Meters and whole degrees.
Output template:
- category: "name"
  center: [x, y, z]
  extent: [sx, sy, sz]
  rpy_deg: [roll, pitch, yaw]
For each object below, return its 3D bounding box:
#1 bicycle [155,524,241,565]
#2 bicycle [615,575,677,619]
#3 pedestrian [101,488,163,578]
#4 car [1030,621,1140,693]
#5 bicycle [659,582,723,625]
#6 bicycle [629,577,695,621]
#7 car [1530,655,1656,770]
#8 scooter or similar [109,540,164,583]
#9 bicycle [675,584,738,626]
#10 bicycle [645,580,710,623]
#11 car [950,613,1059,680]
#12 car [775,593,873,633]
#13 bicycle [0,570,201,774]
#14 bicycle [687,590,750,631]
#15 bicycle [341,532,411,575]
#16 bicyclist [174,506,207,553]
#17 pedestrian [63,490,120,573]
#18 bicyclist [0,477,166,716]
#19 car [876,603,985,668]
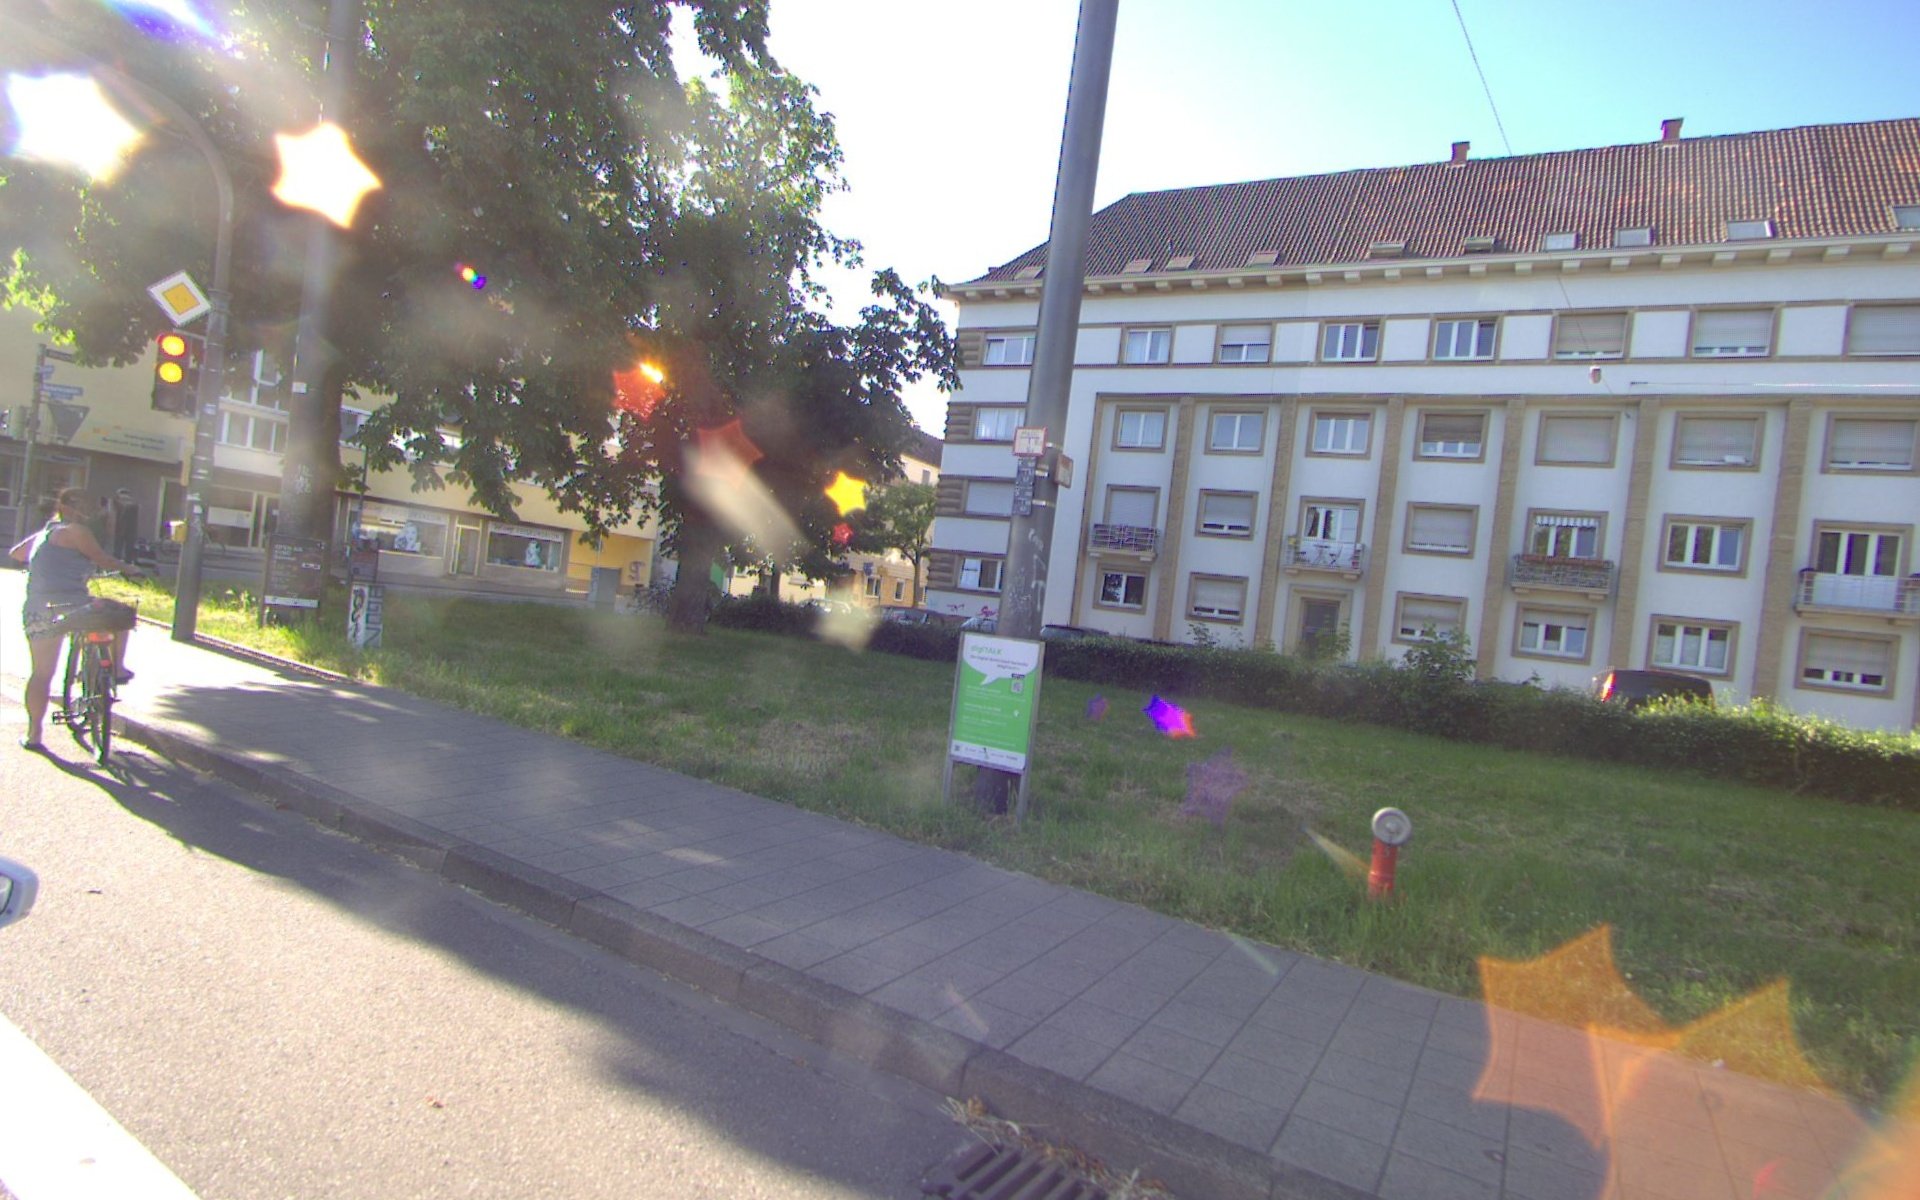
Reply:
- category: "bicycle"
  center: [-26.445, -1.900, 34.927]
  extent: [2.246, 1.000, 0.778]
  rpy_deg: [9, 3, -44]
- category: "bicycle"
  center: [-9.163, -0.093, 29.354]
  extent: [1.766, 1.046, 0.598]
  rpy_deg: [7, -2, 31]
- category: "pedestrian"
  center: [-16.902, -1.367, 20.539]
  extent: [0.525, 1.701, 0.729]
  rpy_deg: [6, -2, 44]
- category: "car"
  center: [3.260, 1.479, 25.794]
  extent: [1.549, 1.547, 3.254]
  rpy_deg: [7, -1, 30]
- category: "bicycle"
  center: [-8.319, 0.104, 31.098]
  extent: [1.973, 1.046, 0.598]
  rpy_deg: [7, -2, 31]
- category: "bicycle"
  center: [-8.871, -0.028, 29.932]
  extent: [1.973, 1.046, 0.598]
  rpy_deg: [7, -2, 31]
- category: "car"
  center: [12.392, 2.235, 19.777]
  extent: [1.739, 1.813, 3.996]
  rpy_deg: [7, -3, 32]
- category: "scooter or similar"
  center: [-16.772, -0.788, 20.502]
  extent: [0.670, 0.746, 0.599]
  rpy_deg: [7, -2, 31]
- category: "bicycle"
  center: [-7.981, 0.147, 31.642]
  extent: [1.973, 1.046, 0.598]
  rpy_deg: [7, -2, 31]
- category: "bicycle"
  center: [-8.582, 0.049, 30.520]
  extent: [1.957, 1.046, 0.598]
  rpy_deg: [7, -2, 31]
- category: "car"
  center: [1.283, 1.308, 27.661]
  extent: [1.549, 1.547, 3.254]
  rpy_deg: [7, -1, 30]
- category: "car"
  center: [-7.819, 0.771, 58.090]
  extent: [5.061, 1.513, 2.208]
  rpy_deg: [8, 1, -35]
- category: "bicycle"
  center: [-5.458, 0.403, 6.171]
  extent: [1.775, 0.983, 0.649]
  rpy_deg: [7, -2, 35]
- category: "bicycle"
  center: [-7.724, 0.338, 32.181]
  extent: [1.973, 1.046, 0.598]
  rpy_deg: [7, -2, 31]
- category: "bicycle"
  center: [-24.788, -1.961, 42.756]
  extent: [0.598, 1.415, 2.477]
  rpy_deg: [7, -3, 30]
- category: "bicyclist"
  center: [-26.546, -2.444, 34.698]
  extent: [0.765, 1.490, 0.887]
  rpy_deg: [6, 2, -41]
- category: "pedestrian"
  center: [-17.198, -1.351, 19.918]
  extent: [0.489, 1.539, 0.646]
  rpy_deg: [6, -2, 44]
- category: "bicyclist"
  center: [-5.535, -0.021, 6.206]
  extent: [0.790, 1.338, 0.639]
  rpy_deg: [7, -2, 34]
- category: "car"
  center: [-0.809, 1.060, 29.076]
  extent: [1.549, 1.547, 3.254]
  rpy_deg: [7, -1, 30]
